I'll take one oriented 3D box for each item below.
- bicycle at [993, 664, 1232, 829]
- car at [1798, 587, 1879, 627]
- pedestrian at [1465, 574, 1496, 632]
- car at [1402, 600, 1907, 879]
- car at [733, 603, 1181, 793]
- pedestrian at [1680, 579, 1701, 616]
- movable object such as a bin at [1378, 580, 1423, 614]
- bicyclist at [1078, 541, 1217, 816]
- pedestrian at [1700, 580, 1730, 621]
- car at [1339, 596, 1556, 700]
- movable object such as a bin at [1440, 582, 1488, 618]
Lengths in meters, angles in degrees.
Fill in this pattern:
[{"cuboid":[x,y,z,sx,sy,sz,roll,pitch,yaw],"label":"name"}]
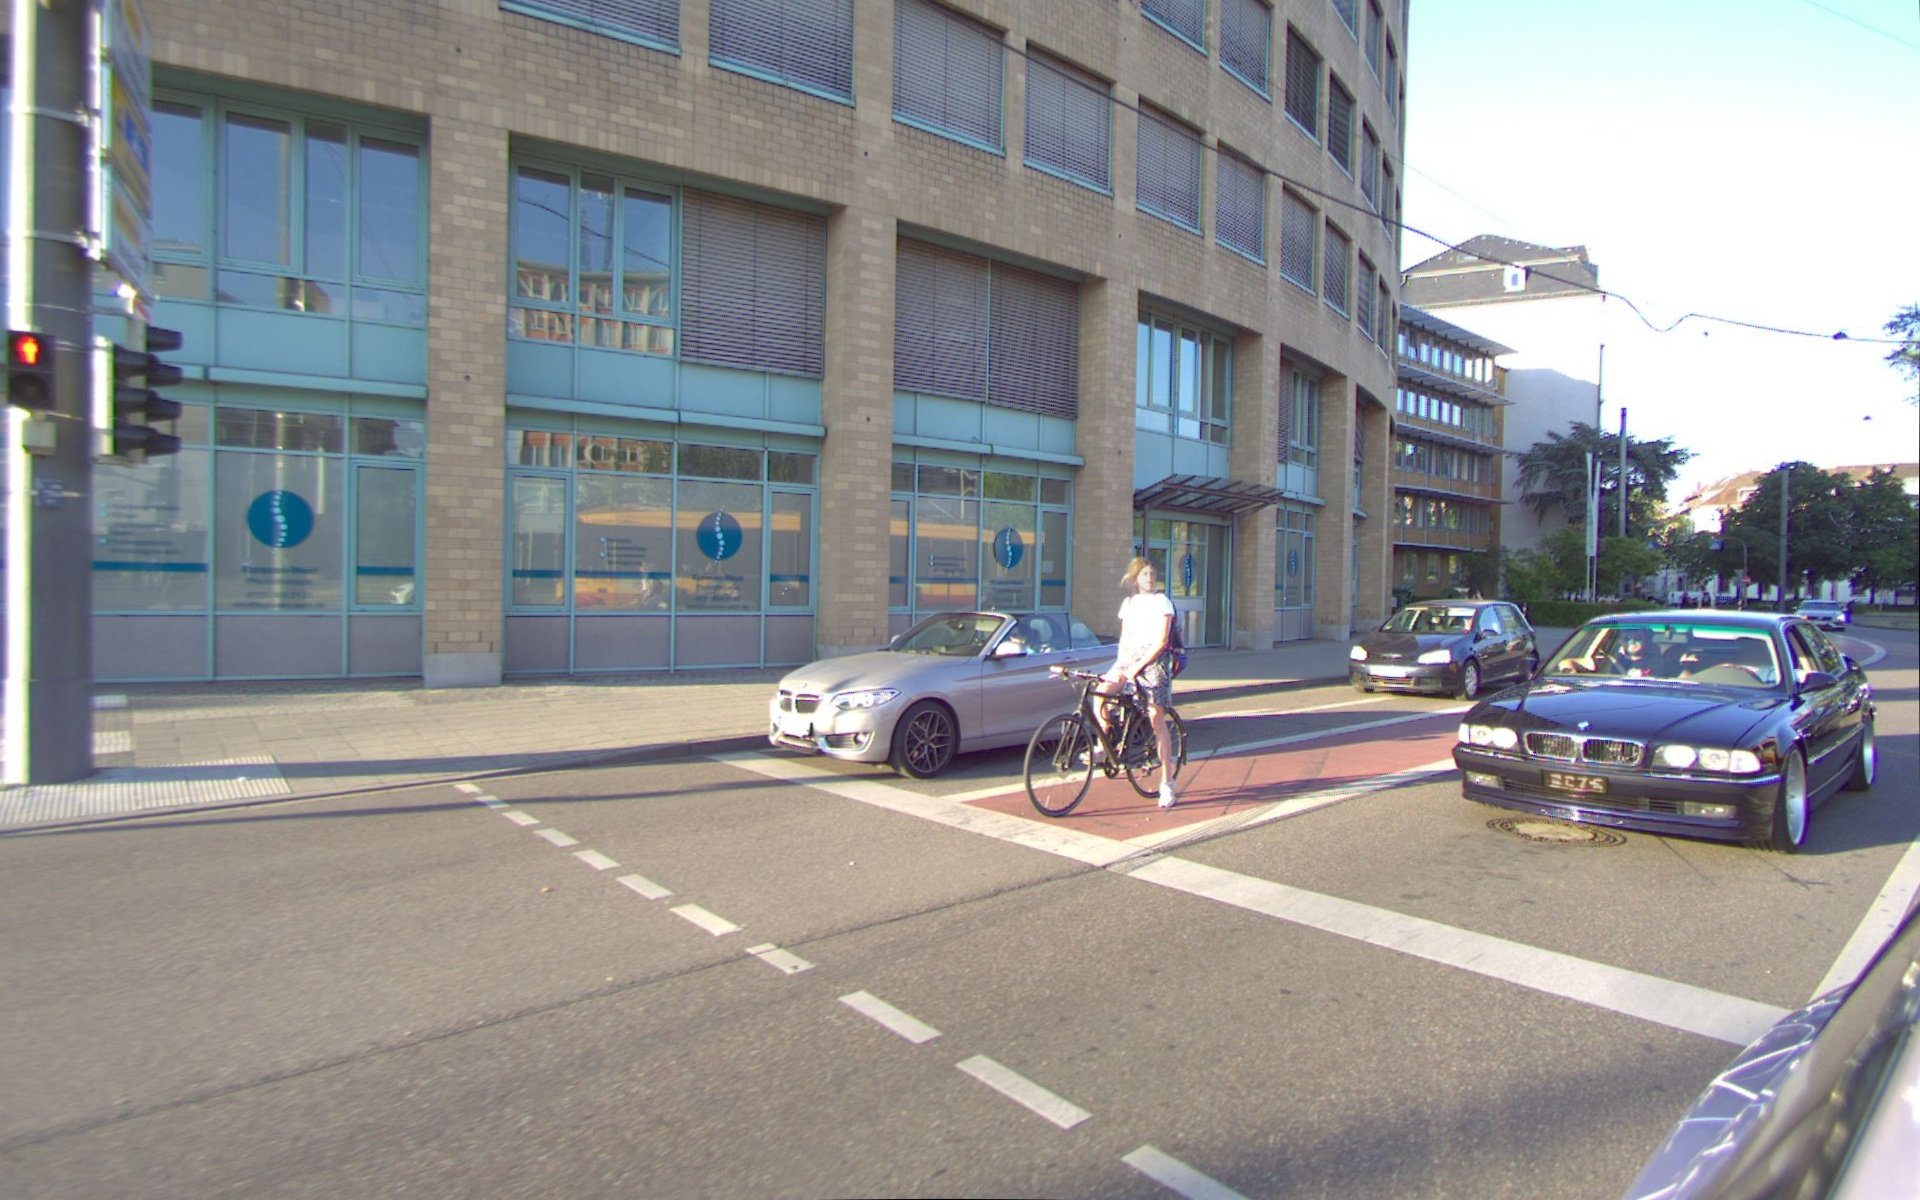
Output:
[{"cuboid":[1.114,0.954,7.073,1.838,0.884,0.634,0,1,-42],"label":"bicycle"},{"cuboid":[41.025,0.295,47.230,3.925,1.771,2.000,0,1,-36],"label":"car"},{"cuboid":[15.532,0.089,30.195,0.702,1.703,0.626,0,1,-44],"label":"pedestrian"},{"cuboid":[5.352,0.722,7.520,4.656,1.403,1.997,0,1,-41],"label":"car"},{"cuboid":[0.123,0.746,9.668,4.152,1.403,1.747,0,0,-40],"label":"car"},{"cuboid":[37.127,-0.123,51.423,0.711,1.830,0.728,0,1,-41],"label":"pedestrian"},{"cuboid":[19.546,-0.153,44.928,1.310,1.477,1.425,0,1,-43],"label":"movable object such as a bin"},{"cuboid":[1.346,0.516,7.256,0.764,1.843,0.634,0,1,-42],"label":"bicyclist"},{"cuboid":[36.161,0.026,48.486,0.902,1.918,1.117,1,1,25],"label":"pedestrian"},{"cuboid":[7.785,0.660,16.014,3.932,1.404,1.757,0,1,-42],"label":"car"},{"cuboid":[21.034,-0.014,42.260,1.311,1.477,1.424,0,1,-45],"label":"movable object such as a bin"}]
